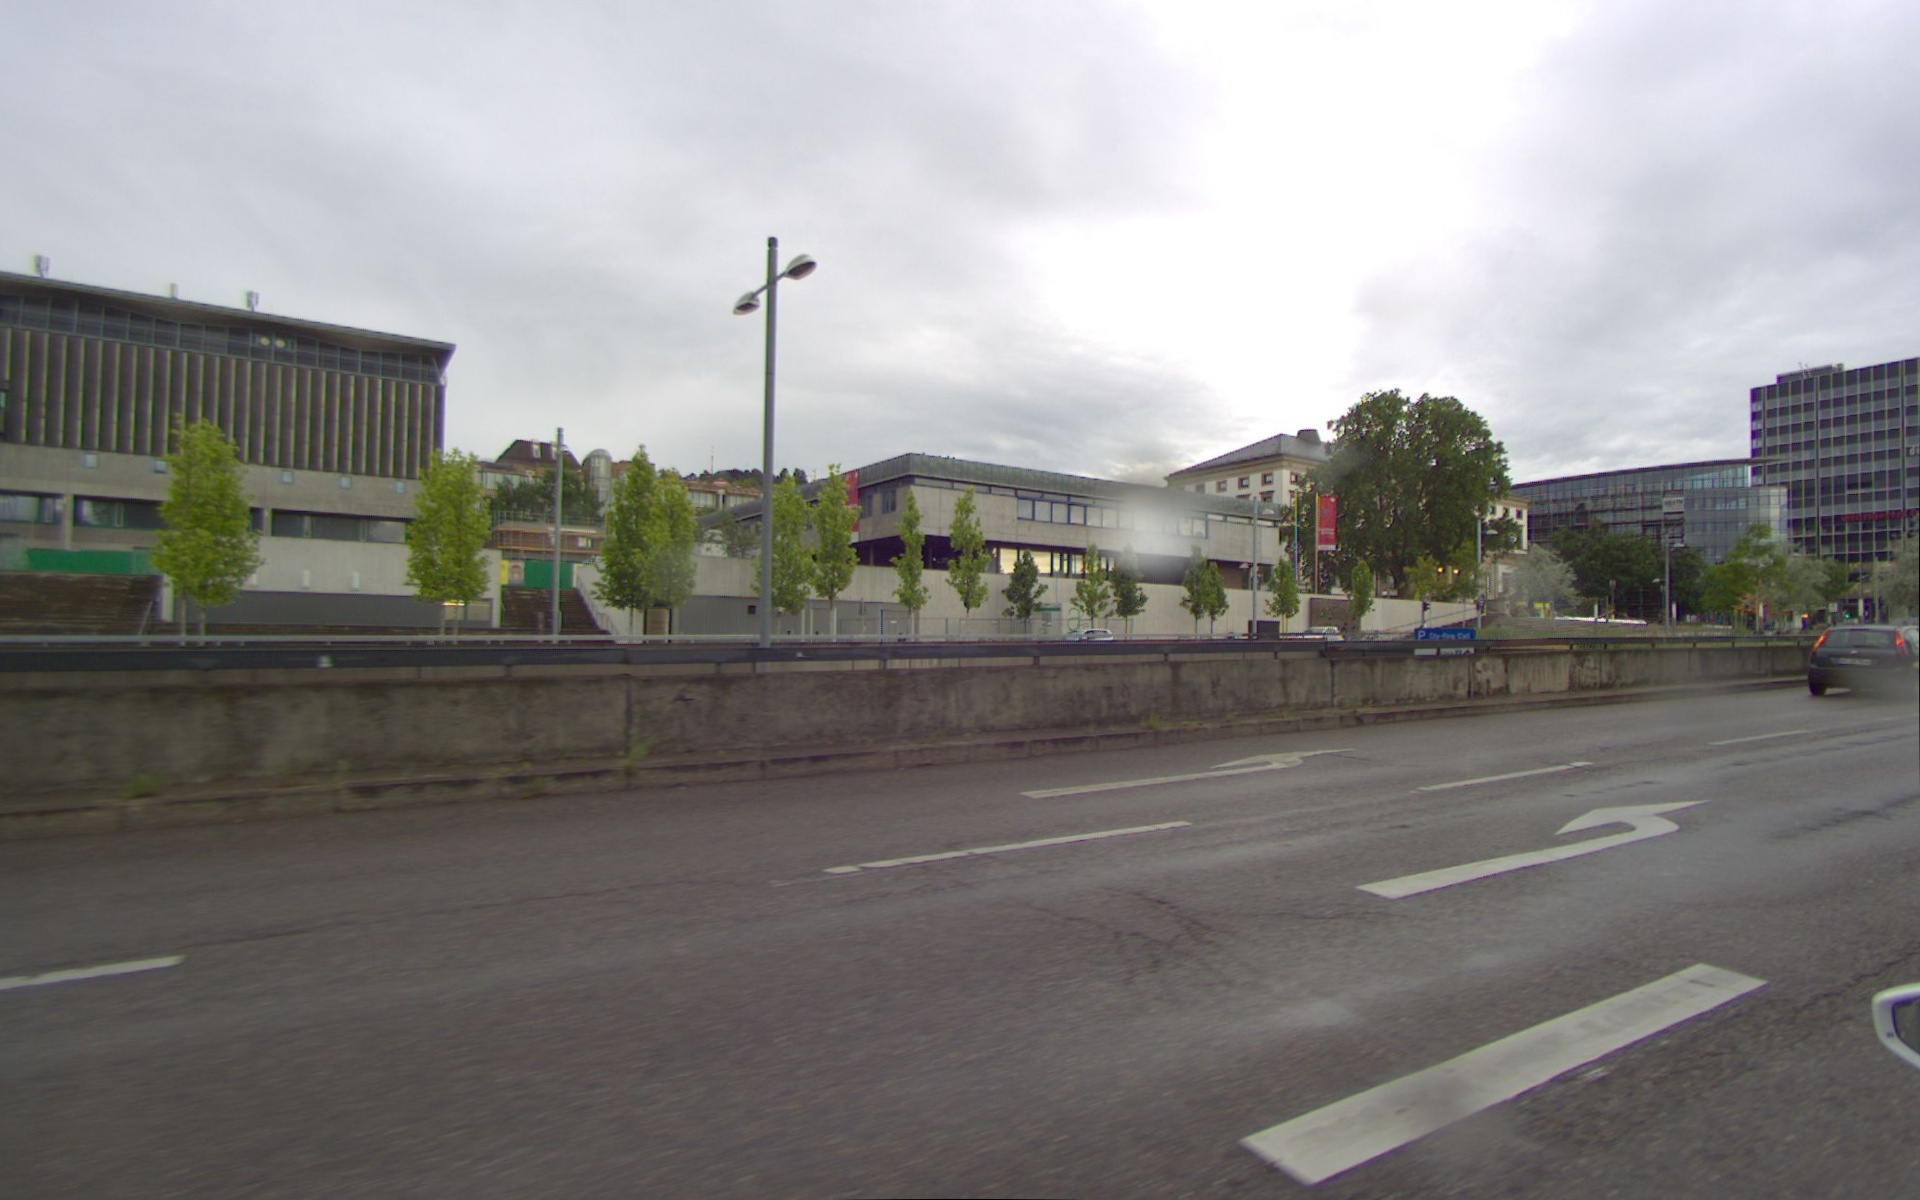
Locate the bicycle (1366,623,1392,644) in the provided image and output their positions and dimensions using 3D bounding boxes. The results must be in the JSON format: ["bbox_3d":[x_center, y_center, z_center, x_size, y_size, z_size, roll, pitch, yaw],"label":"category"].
[{"bbox_3d":[28.009,2.246,67.138,1.461,1.325,0.554,1,-1,44],"label":"bicycle"}]

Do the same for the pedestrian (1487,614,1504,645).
[{"bbox_3d":[37.878,2.068,71.107,0.718,2.120,0.762,-5,3,-33],"label":"pedestrian"}]

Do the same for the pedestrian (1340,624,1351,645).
[{"bbox_3d":[26.042,2.346,67.820,0.571,1.401,0.464,2,-1,-34],"label":"pedestrian"}]

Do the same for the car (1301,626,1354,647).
[{"bbox_3d":[21.582,2.163,58.923,2.989,1.129,1.431,3,-1,-34],"label":"car"}]

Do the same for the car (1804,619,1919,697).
[{"bbox_3d":[18.877,1.163,20.465,3.860,1.434,1.533,3,-1,-33],"label":"car"}]

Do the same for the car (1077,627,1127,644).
[{"bbox_3d":[6.894,1.713,48.659,2.530,0.755,0.813,3,-1,-36],"label":"car"}]

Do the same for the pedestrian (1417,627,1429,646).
[{"bbox_3d":[34.547,2.718,74.941,0.623,1.441,0.491,2,-1,-20],"label":"pedestrian"}]
